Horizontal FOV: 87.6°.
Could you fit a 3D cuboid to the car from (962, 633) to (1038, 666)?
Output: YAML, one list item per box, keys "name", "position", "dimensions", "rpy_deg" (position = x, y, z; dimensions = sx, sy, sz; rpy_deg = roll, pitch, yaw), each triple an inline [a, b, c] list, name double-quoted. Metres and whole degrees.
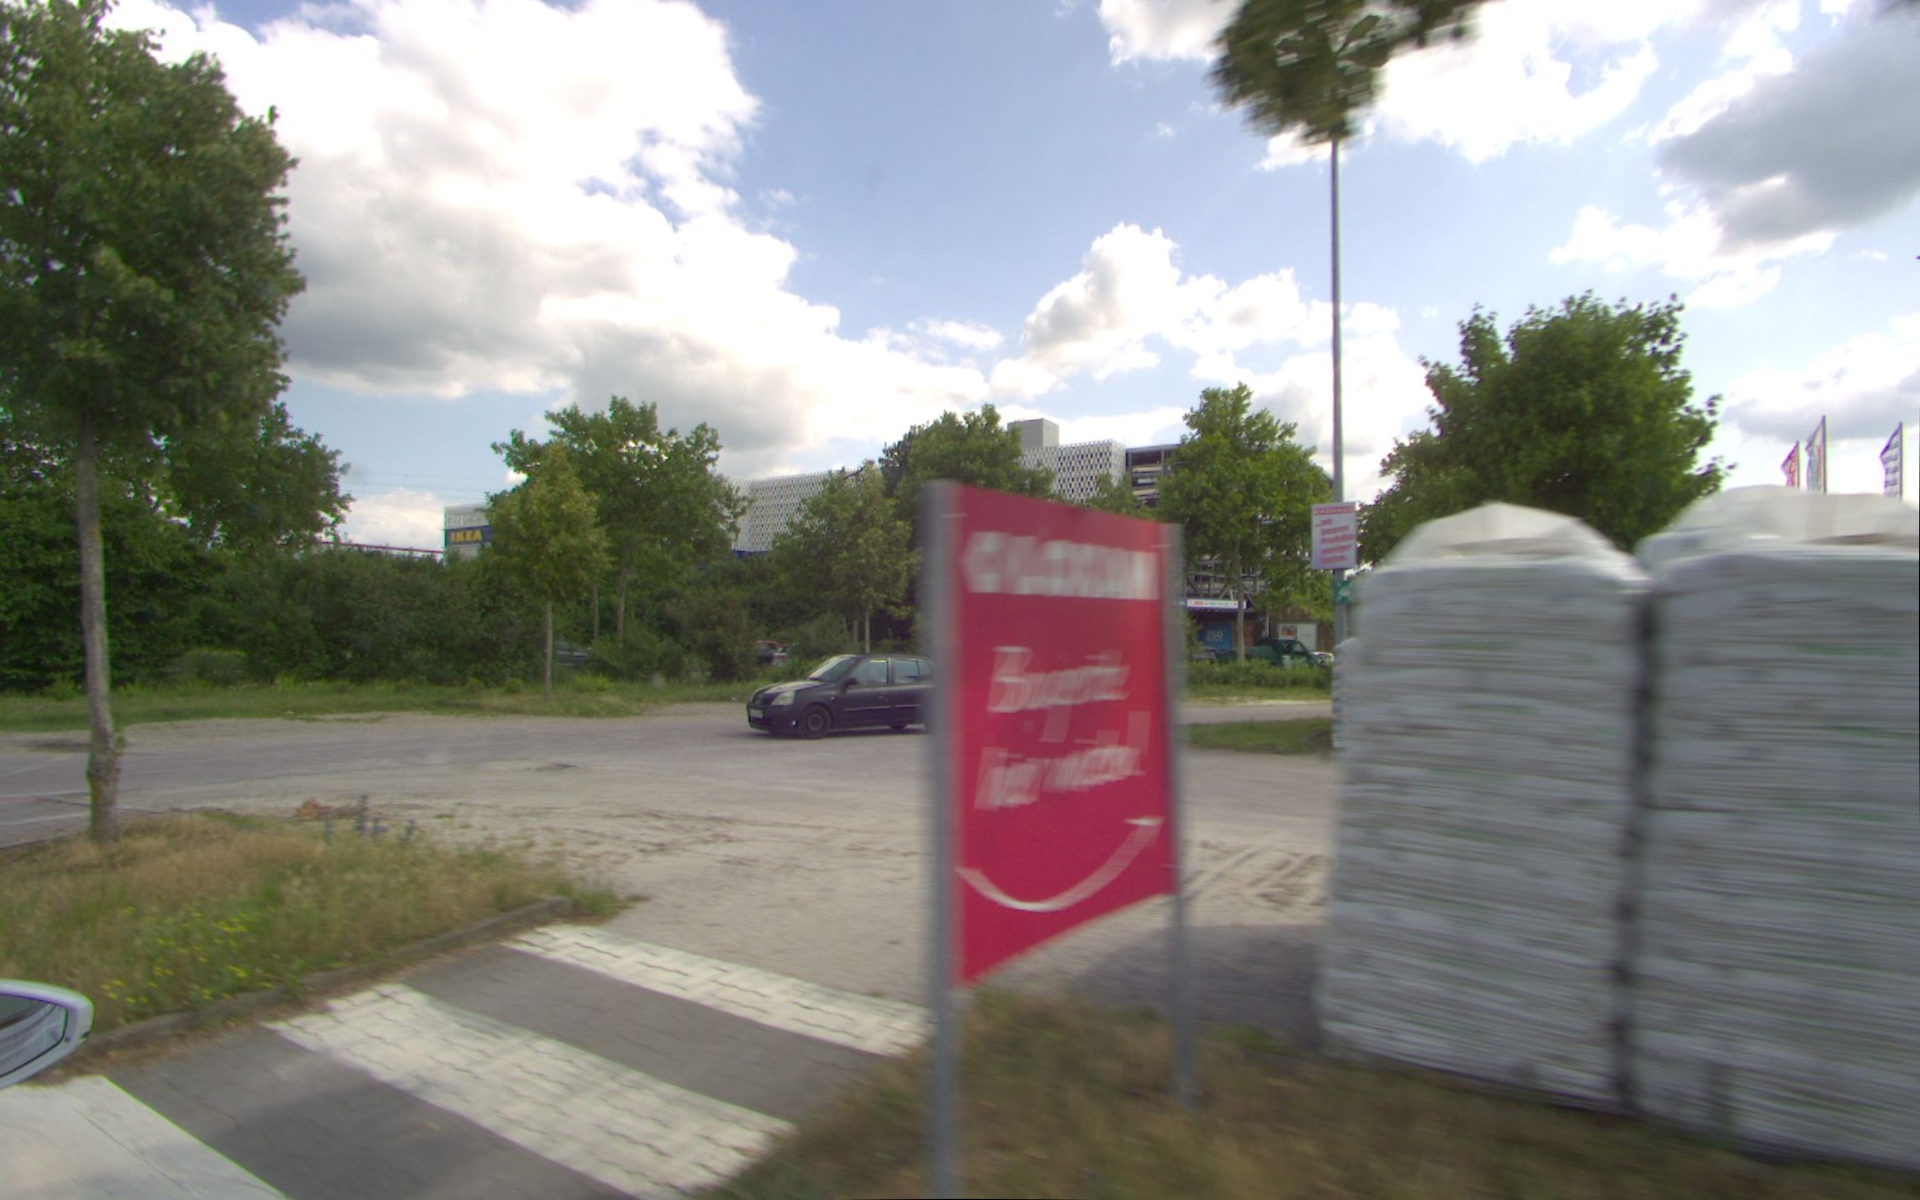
- name: "car"
  position: [2.289, 2.853, 57.586]
  dimensions: [3.932, 1.831, 1.996]
  rpy_deg: [1, -2, -19]

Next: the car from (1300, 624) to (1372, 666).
- name: "car"
  position: [24.018, 2.905, 63.936]
  dimensions: [4.085, 2.573, 1.733]
  rpy_deg: [1, -4, -19]

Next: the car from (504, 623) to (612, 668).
- name: "car"
  position: [-16.224, 1.818, 40.420]
  dimensions: [3.938, 1.737, 1.993]
  rpy_deg: [1, -2, -25]

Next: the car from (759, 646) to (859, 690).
- name: "car"
  position: [-6.718, 3.012, 44.435]
  dimensions: [3.937, 1.736, 1.995]
  rpy_deg: [-1, -4, -25]

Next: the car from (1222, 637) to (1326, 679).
- name: "car"
  position: [17.188, 3.156, 54.791]
  dimensions: [5.307, 2.038, 2.242]
  rpy_deg: [-1, -4, -26]

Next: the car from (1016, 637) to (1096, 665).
- name: "car"
  position: [5.922, 3.159, 62.039]
  dimensions: [4.514, 1.690, 1.997]
  rpy_deg: [1, -2, -17]

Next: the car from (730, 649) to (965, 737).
- name: "car"
  position: [-1.889, 1.537, 17.310]
  dimensions: [3.739, 1.338, 1.601]
  rpy_deg: [2, -2, -35]

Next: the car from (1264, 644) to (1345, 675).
- name: "car"
  position: [22.882, 3.985, 66.452]
  dimensions: [4.715, 1.983, 2.245]
  rpy_deg: [1, -4, -21]
